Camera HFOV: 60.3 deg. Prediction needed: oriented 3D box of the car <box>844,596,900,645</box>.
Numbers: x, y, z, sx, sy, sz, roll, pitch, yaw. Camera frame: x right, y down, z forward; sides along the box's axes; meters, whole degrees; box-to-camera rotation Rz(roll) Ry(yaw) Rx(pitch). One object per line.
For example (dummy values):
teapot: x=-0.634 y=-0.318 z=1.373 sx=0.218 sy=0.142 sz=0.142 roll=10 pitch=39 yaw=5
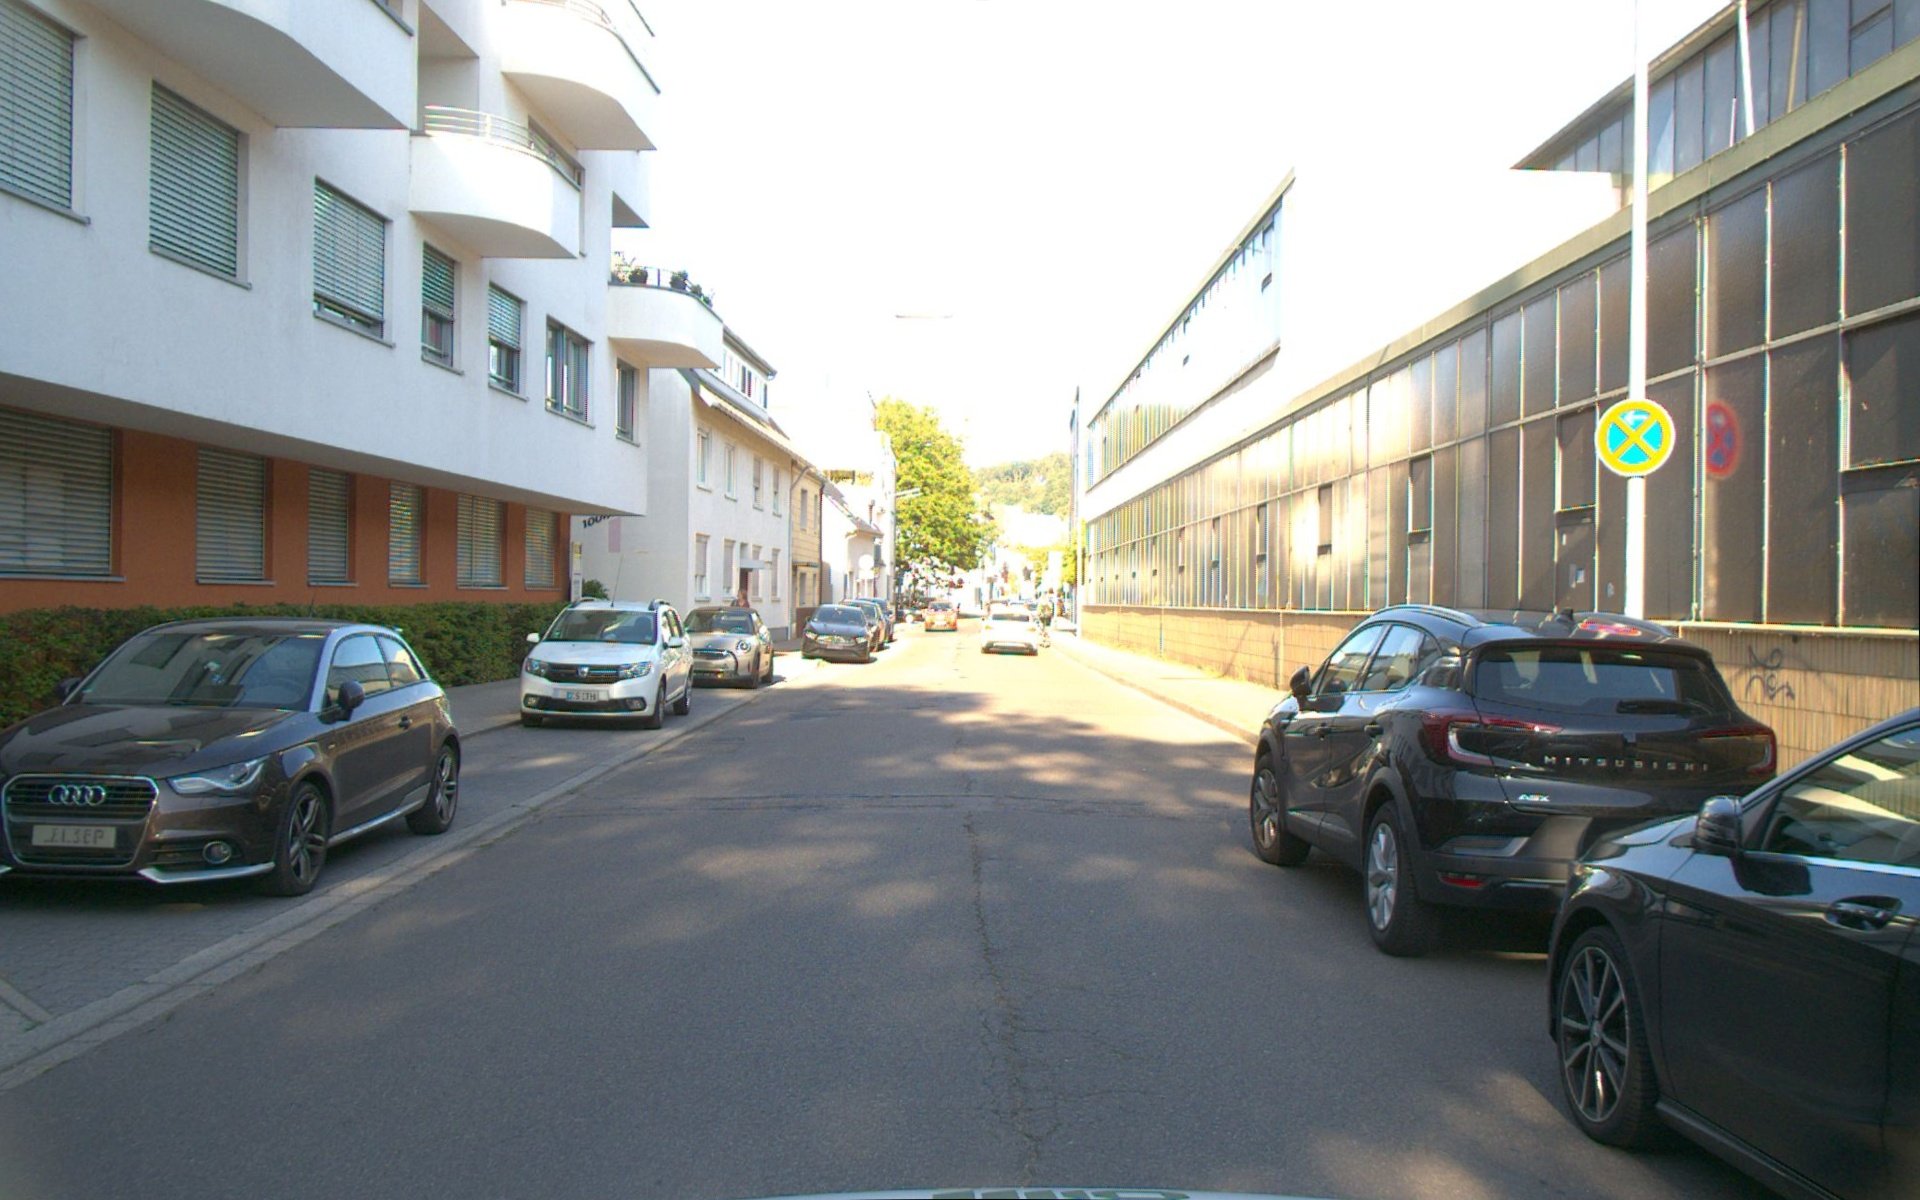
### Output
car: x=-3.324 y=0.751 z=63.062 sx=1.772 sy=1.614 sz=4.193 roll=3 pitch=1 yaw=0

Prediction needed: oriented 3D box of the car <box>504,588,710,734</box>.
car: x=-4.468 y=0.730 z=21.645 sx=1.821 sy=1.615 sz=4.618 roll=3 pitch=-1 yaw=-3

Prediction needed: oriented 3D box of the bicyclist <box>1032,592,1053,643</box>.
bicyclist: x=2.979 y=0.635 z=60.040 sx=0.684 sy=1.821 sz=1.041 roll=2 pitch=-1 yaw=2

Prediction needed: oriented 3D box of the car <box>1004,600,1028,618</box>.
car: x=5.039 y=0.836 z=148.177 sx=1.803 sy=1.517 sz=4.147 roll=2 pitch=-1 yaw=6

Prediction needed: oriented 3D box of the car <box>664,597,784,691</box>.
car: x=-4.357 y=0.794 z=30.998 sx=1.634 sy=1.562 sz=3.856 roll=3 pitch=-1 yaw=0

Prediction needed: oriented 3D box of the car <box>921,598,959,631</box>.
car: x=-0.967 y=0.726 z=82.863 sx=1.804 sy=1.517 sz=4.144 roll=2 pitch=-1 yaw=0

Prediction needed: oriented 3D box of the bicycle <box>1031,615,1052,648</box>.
bicycle: x=2.969 y=1.124 z=60.169 sx=0.684 sy=1.150 sz=2.403 roll=2 pitch=-1 yaw=2

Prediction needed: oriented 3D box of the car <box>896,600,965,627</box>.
car: x=-1.852 y=0.863 z=104.176 sx=4.043 sy=1.517 sz=1.849 roll=2 pitch=-1 yaw=7

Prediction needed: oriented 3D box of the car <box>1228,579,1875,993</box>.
car: x=2.802 y=0.788 z=9.009 sx=1.771 sy=1.615 sz=4.403 roll=3 pitch=-1 yaw=-2

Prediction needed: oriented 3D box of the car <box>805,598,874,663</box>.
car: x=-3.160 y=0.785 z=44.038 sx=1.651 sy=1.562 sz=4.332 roll=3 pitch=-1 yaw=-3

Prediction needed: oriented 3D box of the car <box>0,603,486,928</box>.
car: x=-4.166 y=0.802 z=9.740 sx=1.641 sy=1.458 sz=3.769 roll=3 pitch=-1 yaw=-1

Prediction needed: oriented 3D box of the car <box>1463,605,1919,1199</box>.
car: x=2.766 y=0.822 z=3.863 sx=1.715 sy=1.517 sz=4.621 roll=3 pitch=-1 yaw=0

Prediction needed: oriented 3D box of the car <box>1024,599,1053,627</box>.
car: x=4.770 y=0.803 z=100.776 sx=1.596 sy=1.615 sz=4.069 roll=-1 pitch=-1 yaw=0

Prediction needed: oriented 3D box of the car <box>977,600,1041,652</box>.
car: x=1.506 y=0.801 z=52.055 sx=1.804 sy=1.517 sz=4.143 roll=2 pitch=-1 yaw=0

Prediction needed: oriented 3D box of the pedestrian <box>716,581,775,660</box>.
pedestrian: x=-5.262 y=0.514 z=40.647 sx=0.844 sy=1.850 sz=1.131 roll=5 pitch=0 yaw=24

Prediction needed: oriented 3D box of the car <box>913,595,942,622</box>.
car: x=-2.293 y=0.593 z=117.697 sx=1.814 sy=1.823 sz=4.608 roll=2 pitch=0 yaw=2

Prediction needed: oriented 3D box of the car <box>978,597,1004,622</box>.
car: x=2.371 y=0.725 z=127.332 sx=1.815 sy=1.823 sz=4.606 roll=2 pitch=0 yaw=-1

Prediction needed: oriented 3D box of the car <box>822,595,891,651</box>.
car: x=-3.355 y=0.723 z=54.451 sx=1.819 sy=1.614 sz=4.336 roll=3 pitch=1 yaw=1
